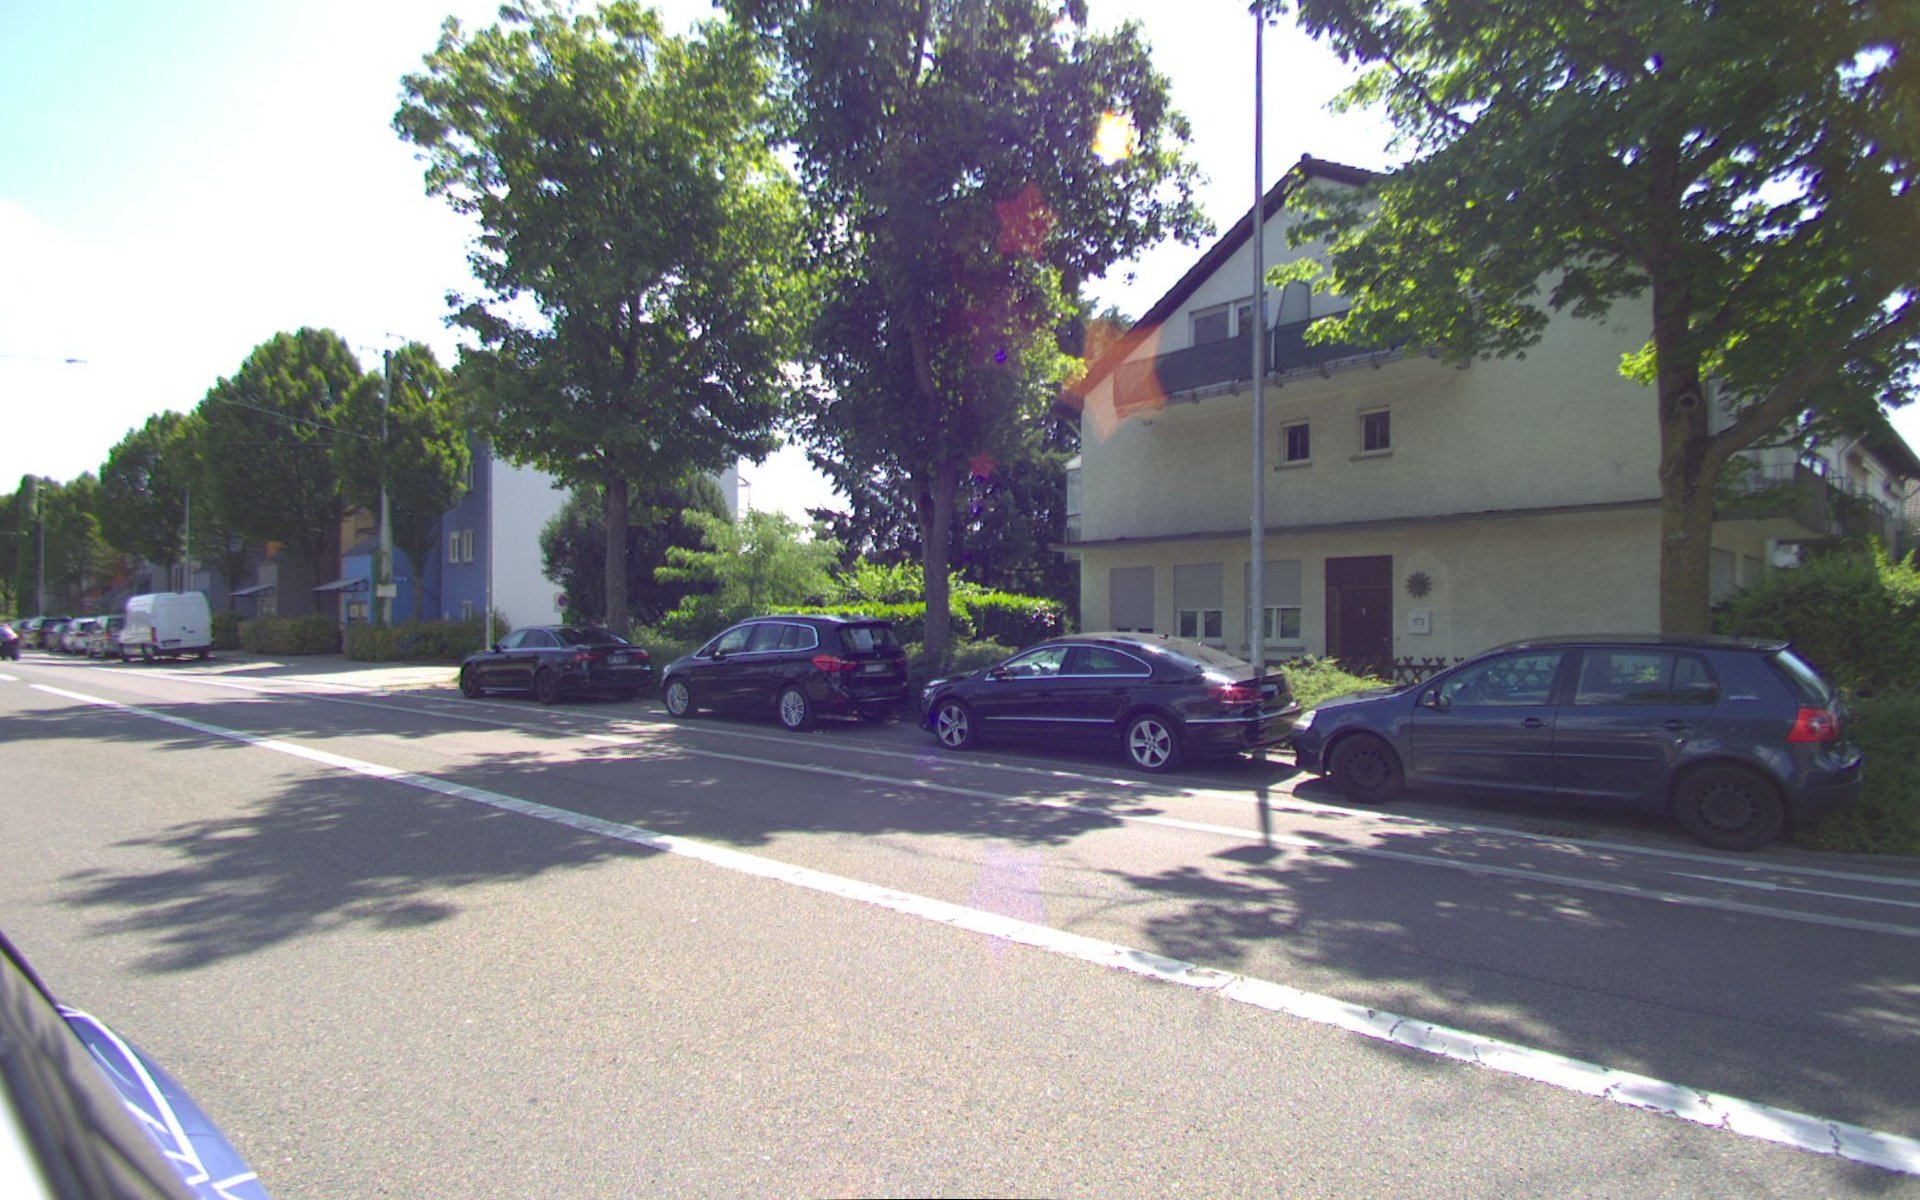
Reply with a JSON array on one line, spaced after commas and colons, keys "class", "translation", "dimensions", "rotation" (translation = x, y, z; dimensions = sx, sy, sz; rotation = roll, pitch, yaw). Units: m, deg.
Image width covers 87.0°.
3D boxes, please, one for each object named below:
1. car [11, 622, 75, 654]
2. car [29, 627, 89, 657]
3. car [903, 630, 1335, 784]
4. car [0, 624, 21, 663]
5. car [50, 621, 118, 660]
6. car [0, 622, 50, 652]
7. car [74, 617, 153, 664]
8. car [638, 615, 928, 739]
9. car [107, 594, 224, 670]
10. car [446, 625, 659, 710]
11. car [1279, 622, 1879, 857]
[{"class": "car", "translation": [-50.432, 2.079, 55.610], "dimensions": [4.880, 1.729, 1.734], "rotation": [-2, -3, 37]}, {"class": "car", "translation": [-46.328, 2.132, 51.994], "dimensions": [4.082, 1.482, 1.583], "rotation": [-1, -2, 38]}, {"class": "car", "translation": [1.672, 1.076, 11.718], "dimensions": [4.691, 1.383, 1.757], "rotation": [-1, 0, 39]}, {"class": "car", "translation": [-36.588, 1.603, 37.768], "dimensions": [4.001, 1.409, 1.661], "rotation": [-1, -4, 39]}, {"class": "car", "translation": [-42.352, 1.933, 48.907], "dimensions": [4.899, 1.765, 1.699], "rotation": [-1, -1, 39]}, {"class": "car", "translation": [-54.690, 2.153, 59.001], "dimensions": [4.278, 1.630, 1.640], "rotation": [0, -2, 37]}, {"class": "car", "translation": [-38.086, 1.788, 45.480], "dimensions": [5.358, 1.909, 1.788], "rotation": [-1, 0, 40]}, {"class": "car", "translation": [-2.818, 1.060, 15.444], "dimensions": [4.632, 1.616, 1.757], "rotation": [-1, -1, 39]}, {"class": "car", "translation": [-31.738, 1.248, 40.303], "dimensions": [7.031, 2.671, 2.300], "rotation": [-2, 2, 41]}, {"class": "car", "translation": [-8.039, 1.233, 19.765], "dimensions": [4.799, 1.467, 1.757], "rotation": [-1, -2, 39]}, {"class": "car", "translation": [5.029, 0.966, 8.624], "dimensions": [4.044, 1.492, 1.757], "rotation": [-1, -1, 40]}]
